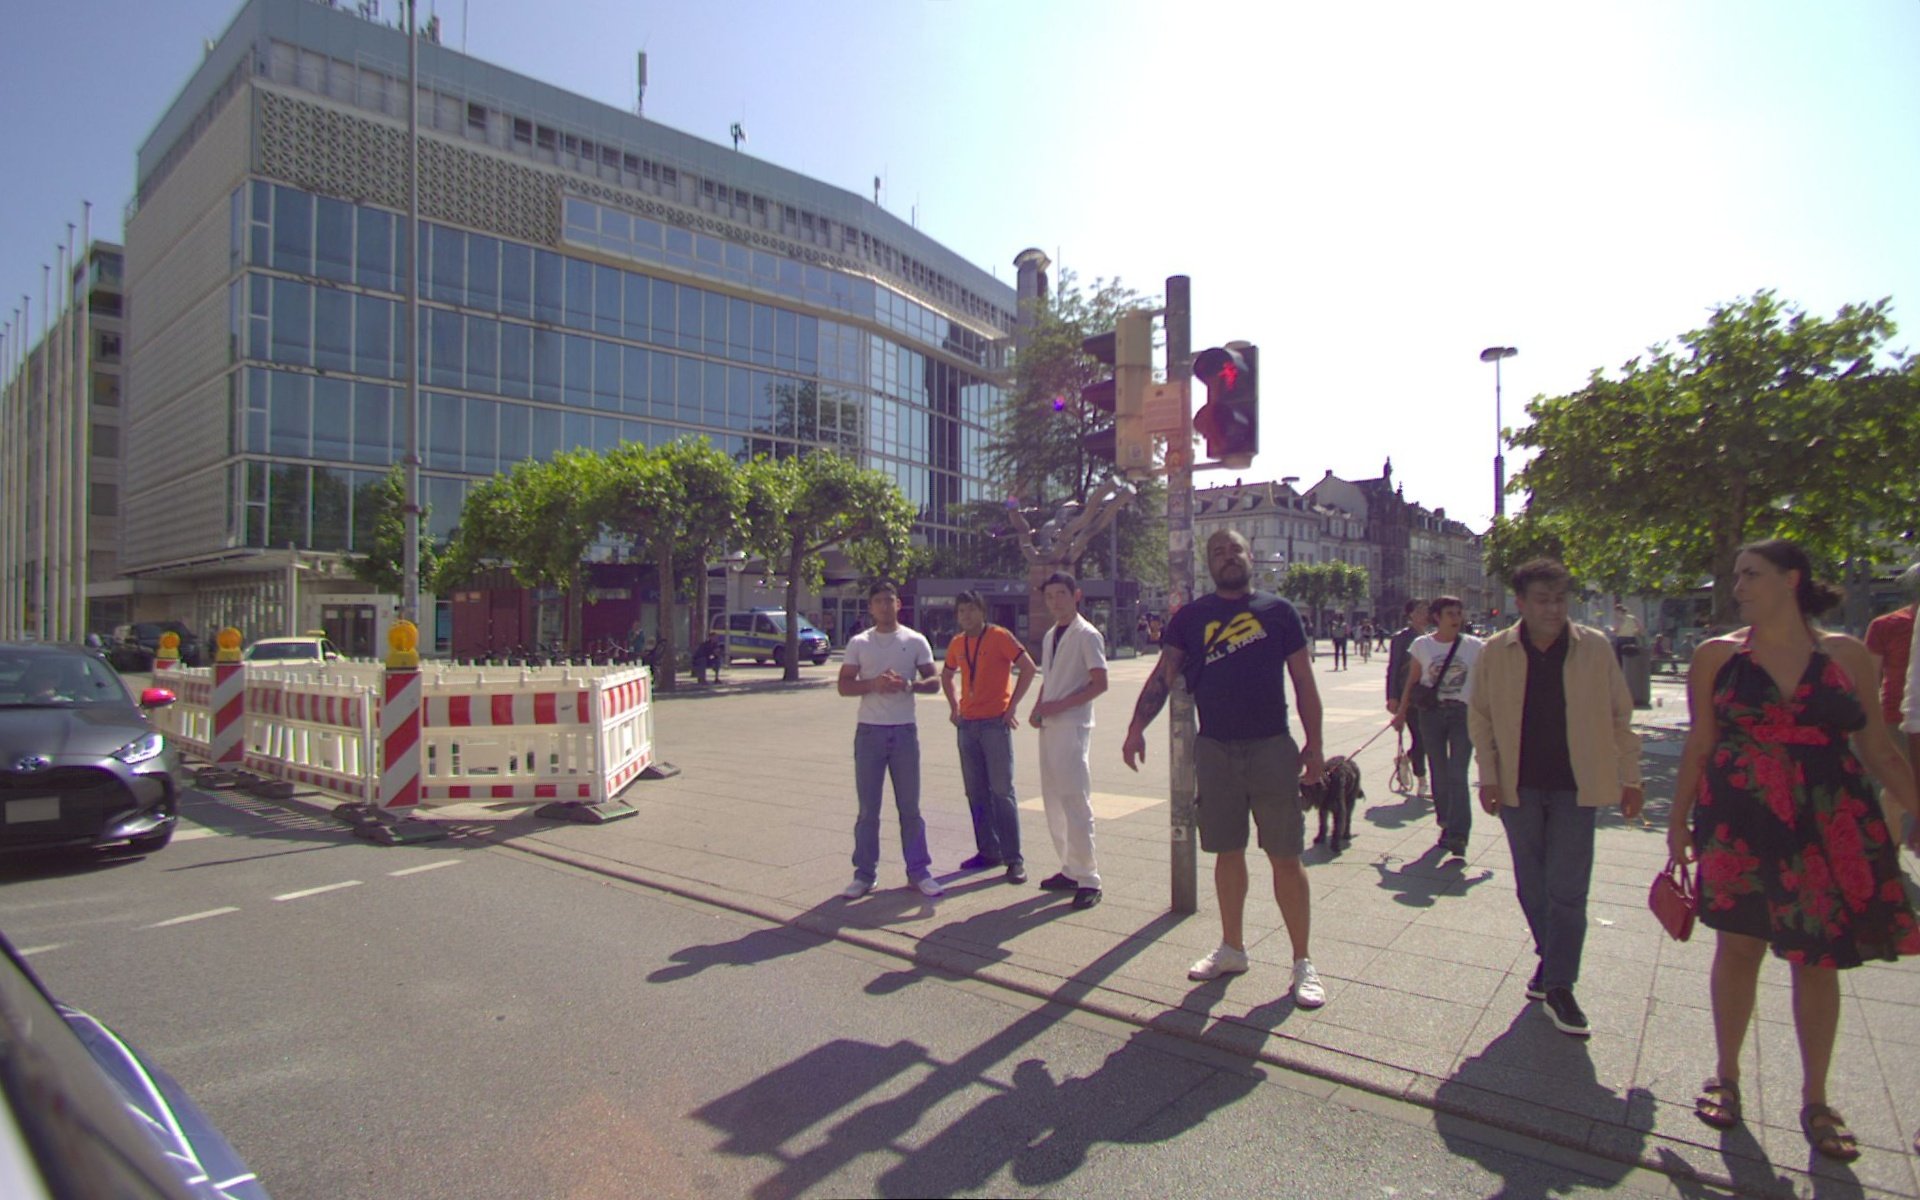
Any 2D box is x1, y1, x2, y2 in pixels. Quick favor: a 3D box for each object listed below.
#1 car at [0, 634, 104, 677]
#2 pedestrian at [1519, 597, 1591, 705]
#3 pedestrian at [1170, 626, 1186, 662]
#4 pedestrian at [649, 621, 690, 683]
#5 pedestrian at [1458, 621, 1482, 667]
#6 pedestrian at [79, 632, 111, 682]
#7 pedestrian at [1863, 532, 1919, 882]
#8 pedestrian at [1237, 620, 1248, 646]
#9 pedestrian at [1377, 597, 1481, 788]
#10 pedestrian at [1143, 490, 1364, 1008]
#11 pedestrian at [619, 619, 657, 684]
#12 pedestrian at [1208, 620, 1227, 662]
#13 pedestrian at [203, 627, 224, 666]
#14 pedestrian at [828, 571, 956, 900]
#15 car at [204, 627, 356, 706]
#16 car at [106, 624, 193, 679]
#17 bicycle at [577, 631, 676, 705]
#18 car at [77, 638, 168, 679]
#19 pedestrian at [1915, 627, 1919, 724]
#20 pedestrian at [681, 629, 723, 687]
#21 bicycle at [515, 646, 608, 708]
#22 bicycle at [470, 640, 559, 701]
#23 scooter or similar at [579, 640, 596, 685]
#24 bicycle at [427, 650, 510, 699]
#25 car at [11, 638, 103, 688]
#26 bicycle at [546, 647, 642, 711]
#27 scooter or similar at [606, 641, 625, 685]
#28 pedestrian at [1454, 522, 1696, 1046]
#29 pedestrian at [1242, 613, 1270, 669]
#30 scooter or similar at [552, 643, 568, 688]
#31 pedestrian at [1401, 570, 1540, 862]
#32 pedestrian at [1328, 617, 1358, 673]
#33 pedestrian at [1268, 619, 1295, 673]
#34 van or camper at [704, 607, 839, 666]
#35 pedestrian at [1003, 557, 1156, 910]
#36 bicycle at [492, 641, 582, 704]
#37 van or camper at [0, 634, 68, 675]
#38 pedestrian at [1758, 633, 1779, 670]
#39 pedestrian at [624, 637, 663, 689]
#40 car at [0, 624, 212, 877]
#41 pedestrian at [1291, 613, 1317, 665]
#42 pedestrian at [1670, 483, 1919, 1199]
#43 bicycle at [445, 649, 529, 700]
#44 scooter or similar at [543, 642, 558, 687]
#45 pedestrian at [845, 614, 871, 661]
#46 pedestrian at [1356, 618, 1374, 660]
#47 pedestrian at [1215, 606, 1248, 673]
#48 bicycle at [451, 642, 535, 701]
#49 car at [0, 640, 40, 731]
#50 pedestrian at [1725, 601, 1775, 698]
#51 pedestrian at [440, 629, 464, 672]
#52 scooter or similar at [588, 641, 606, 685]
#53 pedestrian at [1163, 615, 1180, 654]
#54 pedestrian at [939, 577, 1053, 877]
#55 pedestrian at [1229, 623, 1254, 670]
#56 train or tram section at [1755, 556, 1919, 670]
[{"bbox_3d":[-43.677,2.645,47.921,4.372,1.924,2.014,-1,-2,-13],"label":"car"},{"bbox_3d":[10.040,0.844,17.088,0.596,1.762,0.806,-1,-1,-18],"label":"pedestrian"},{"bbox_3d":[10.198,2.069,47.370,0.602,1.651,0.570,-1,-1,22],"label":"pedestrian"},{"bbox_3d":[-7.753,1.379,26.998,0.670,1.618,0.798,-2,-2,28],"label":"pedestrian"},{"bbox_3d":[18.965,1.628,37.650,0.566,1.651,0.606,0,-1,-44],"label":"pedestrian"},{"bbox_3d":[-31.668,2.087,37.069,0.610,1.806,0.694,0,-2,-10],"label":"pedestrian"},{"bbox_3d":[5.510,0.576,5.611,0.622,1.894,0.664,0,-1,-43],"label":"pedestrian"},{"bbox_3d":[18.180,2.113,65.059,0.602,1.651,0.570,-1,-1,22],"label":"pedestrian"},{"bbox_3d":[3.981,0.754,8.596,0.569,1.544,0.607,0,-1,-43],"label":"pedestrian"},{"bbox_3d":[1.204,0.550,4.164,0.653,1.905,0.570,-2,-1,43],"label":"pedestrian"},{"bbox_3d":[-8.577,1.366,26.967,0.685,1.690,0.666,-2,-2,33],"label":"pedestrian"},{"bbox_3d":[10.271,1.644,40.354,0.602,1.651,0.570,-1,-1,22],"label":"pedestrian"},{"bbox_3d":[-31.503,1.945,42.702,0.543,1.629,0.574,-2,-4,39],"label":"pedestrian"},{"bbox_3d":[-0.370,0.727,5.652,0.599,1.753,0.429,-1,-1,10],"label":"pedestrian"},{"bbox_3d":[-15.289,1.456,23.043,1.864,1.553,4.877,-1,-2,-22],"label":"car"},{"bbox_3d":[-31.446,1.984,39.226,4.683,2.029,1.813,-3,-3,41],"label":"car"},{"bbox_3d":[-6.708,1.339,20.409,0.740,1.358,1.765,-2,-1,38],"label":"bicycle"},{"bbox_3d":[-35.599,2.445,42.996,4.392,1.623,1.975,-2,-1,36],"label":"car"},{"bbox_3d":[12.859,0.981,13.003,0.608,1.272,0.607,-1,-2,19],"label":"pedestrian"},{"bbox_3d":[-6.392,1.423,25.044,0.662,1.392,0.898,0,-2,-40],"label":"pedestrian"},{"bbox_3d":[-8.440,1.605,21.478,0.662,1.224,1.765,-2,-2,38],"label":"bicycle"},{"bbox_3d":[-10.130,1.584,23.074,0.662,1.319,1.765,-2,-2,38],"label":"bicycle"},{"bbox_3d":[-10.563,1.759,28.674,0.230,1.223,1.307,0,-2,-30],"label":"scooter or similar"},{"bbox_3d":[-12.019,1.801,24.775,0.562,1.114,1.765,-2,-2,38],"label":"bicycle"},{"bbox_3d":[-31.627,2.168,35.414,4.705,1.612,1.743,-3,-3,40],"label":"car"},{"bbox_3d":[-7.442,1.586,20.653,0.662,1.194,1.765,-2,-2,38],"label":"bicycle"},{"bbox_3d":[-9.843,1.787,28.911,0.260,1.223,1.307,0,-2,-30],"label":"scooter or similar"},{"bbox_3d":[2.333,0.623,3.845,0.653,1.760,0.570,-2,-1,43],"label":"pedestrian"},{"bbox_3d":[9.461,1.307,32.382,0.605,1.762,0.794,-2,-1,36],"label":"pedestrian"},{"bbox_3d":[-11.229,1.814,28.403,0.230,1.223,1.307,0,-2,-30],"label":"scooter or similar"},{"bbox_3d":[3.267,0.697,6.483,0.569,1.752,0.607,0,-1,-43],"label":"pedestrian"},{"bbox_3d":[11.100,1.303,29.327,0.605,1.573,0.794,-2,-1,36],"label":"pedestrian"},{"bbox_3d":[10.610,1.506,33.424,0.605,1.762,0.794,-2,-1,36],"label":"pedestrian"},{"bbox_3d":[-6.642,1.263,35.315,5.020,1.933,1.854,-2,-2,39],"label":"van or camper"},{"bbox_3d":[0.652,0.683,5.557,0.533,1.793,0.607,0,-1,-43],"label":"pedestrian"},{"bbox_3d":[-9.384,1.591,22.512,0.662,1.319,1.765,-2,-2,38],"label":"bicycle"},{"bbox_3d":[-50.036,2.892,53.018,4.585,2.029,2.004,-2,-2,-10],"label":"van or camper"},{"bbox_3d":[33.142,2.114,41.490,0.442,1.476,0.445,0,-2,-14],"label":"pedestrian"},{"bbox_3d":[-8.290,1.640,26.520,0.683,1.319,0.668,-2,-2,23],"label":"pedestrian"},{"bbox_3d":[-7.133,0.997,7.422,4.106,1.489,1.843,-4,-7,43],"label":"car"},{"bbox_3d":[12.011,1.348,35.315,0.605,1.762,0.794,-2,-1,36],"label":"pedestrian"},{"bbox_3d":[2.446,0.603,2.841,0.638,1.771,0.570,-2,-2,43],"label":"pedestrian"},{"bbox_3d":[-11.401,1.783,24.439,0.562,1.141,1.765,-2,-2,38],"label":"bicycle"},{"bbox_3d":[-11.476,1.795,28.344,0.230,1.223,1.307,0,-2,-30],"label":"scooter or similar"},{"bbox_3d":[-3.921,1.430,39.060,0.605,1.762,0.794,-2,-1,36],"label":"pedestrian"},{"bbox_3d":[16.016,1.534,40.003,0.602,1.651,0.570,-1,-1,22],"label":"pedestrian"},{"bbox_3d":[7.559,1.091,28.174,0.605,1.812,0.794,-2,-1,36],"label":"pedestrian"},{"bbox_3d":[-11.045,1.672,23.982,0.562,1.319,1.765,-2,-2,38],"label":"bicycle"},{"bbox_3d":[-16.614,1.370,16.739,4.106,1.408,1.710,-2,-3,43],"label":"car"},{"bbox_3d":[14.790,0.922,18.955,0.604,1.763,0.603,-2,-3,30],"label":"pedestrian"},{"bbox_3d":[-20.501,2.030,40.824,0.674,1.728,0.723,3,-4,-40],"label":"pedestrian"},{"bbox_3d":[-10.322,1.782,28.762,0.230,1.223,1.307,0,-2,-30],"label":"scooter or similar"},{"bbox_3d":[9.178,1.489,43.834,0.602,1.651,0.570,-1,-1,22],"label":"pedestrian"},{"bbox_3d":[0.228,0.739,6.153,0.599,1.731,0.539,-1,-1,10],"label":"pedestrian"},{"bbox_3d":[9.973,1.639,35.845,0.605,1.634,0.794,-2,-1,36],"label":"pedestrian"},{"bbox_3d":[32.574,0.397,33.040,2.577,3.705,11.031,0,-2,-14],"label":"train or tram section"}]
